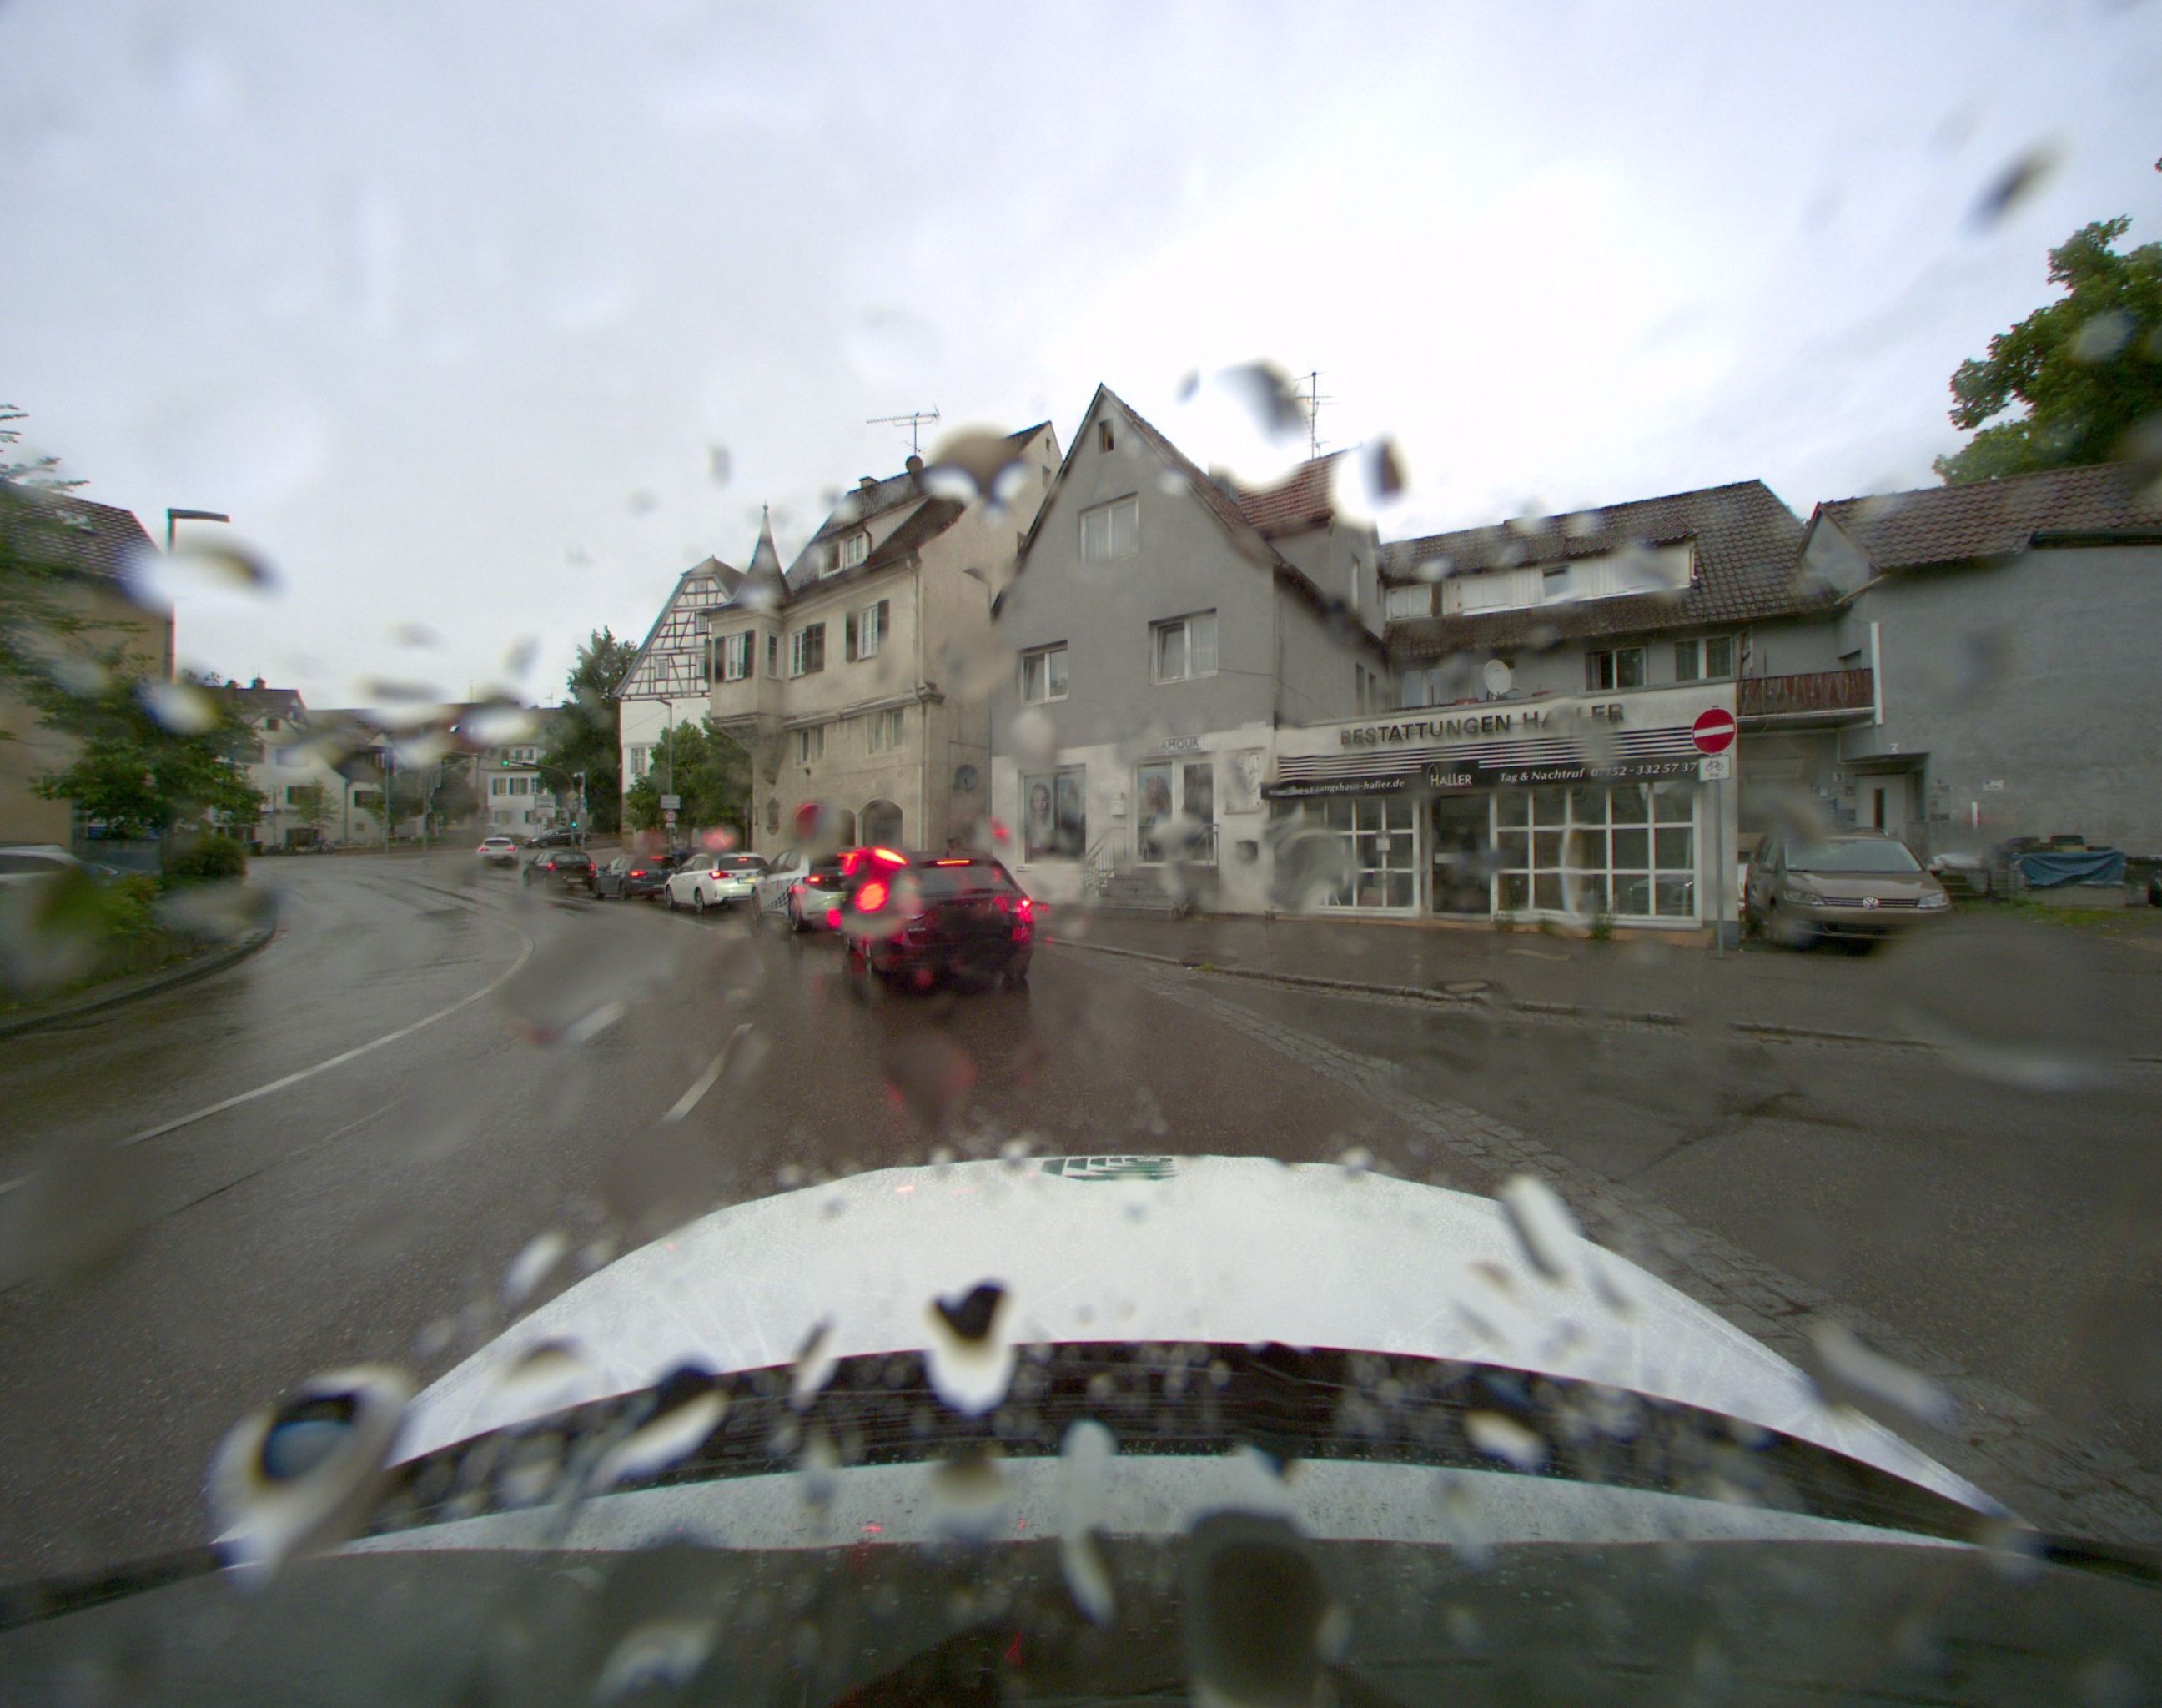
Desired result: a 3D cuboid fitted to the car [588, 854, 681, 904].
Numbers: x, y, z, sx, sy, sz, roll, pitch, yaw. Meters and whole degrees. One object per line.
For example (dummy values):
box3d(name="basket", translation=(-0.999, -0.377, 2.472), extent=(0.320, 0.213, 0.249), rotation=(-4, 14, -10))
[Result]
box3d(name="car", translation=(-14.142, 0.734, 25.698), extent=(3.721, 1.361, 1.533), rotation=(1, 2, 44))

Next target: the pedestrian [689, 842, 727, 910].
box3d(name="pedestrian", translation=(-13.080, 0.742, 28.548), extent=(0.872, 2.326, 1.216), rotation=(-1, 0, -40))

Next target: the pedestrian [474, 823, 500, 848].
box3d(name="pedestrian", translation=(-43.146, -1.349, 59.189), extent=(0.992, 1.742, 1.156), rotation=(-1, 0, 26))

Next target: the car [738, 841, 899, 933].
box3d(name="car", translation=(-5.319, 0.569, 16.161), extent=(1.803, 1.517, 4.194), rotation=(-2, 1, -36))

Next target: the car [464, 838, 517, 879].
box3d(name="car", translation=(-32.262, 0.219, 44.455), extent=(1.990, 2.090, 3.914), rotation=(-2, 2, -41))

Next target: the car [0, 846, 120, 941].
box3d(name="car", translation=(-20.134, 0.721, 14.481), extent=(1.692, 1.685, 3.558), rotation=(0, 1, 24))

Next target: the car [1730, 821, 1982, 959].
box3d(name="car", translation=(11.719, 0.381, 12.718), extent=(1.905, 1.727, 4.698), rotation=(-1, 2, 32))

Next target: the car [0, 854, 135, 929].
box3d(name="car", translation=(-22.352, 0.772, 16.652), extent=(1.692, 1.455, 3.558), rotation=(0, 1, 24))

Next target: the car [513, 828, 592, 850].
box3d(name="car", translation=(-38.418, -1.083, 59.322), extent=(1.632, 1.389, 4.555), rotation=(7, 3, 23))

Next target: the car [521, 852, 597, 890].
box3d(name="car", translation=(-20.158, 0.615, 31.382), extent=(3.579, 1.312, 1.678), rotation=(1, 2, 44))

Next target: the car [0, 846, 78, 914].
box3d(name="car", translation=(-26.205, 0.619, 18.750), extent=(1.692, 1.576, 3.558), rotation=(0, 1, 24))

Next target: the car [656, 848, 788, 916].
box3d(name="car", translation=(-9.146, 0.619, 20.591), extent=(1.801, 1.465, 4.114), rotation=(-3, 2, -42))

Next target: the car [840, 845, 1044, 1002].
box3d(name="car", translation=(-1.947, 0.648, 10.195), extent=(1.738, 1.450, 4.212), rotation=(-2, 2, -21))
